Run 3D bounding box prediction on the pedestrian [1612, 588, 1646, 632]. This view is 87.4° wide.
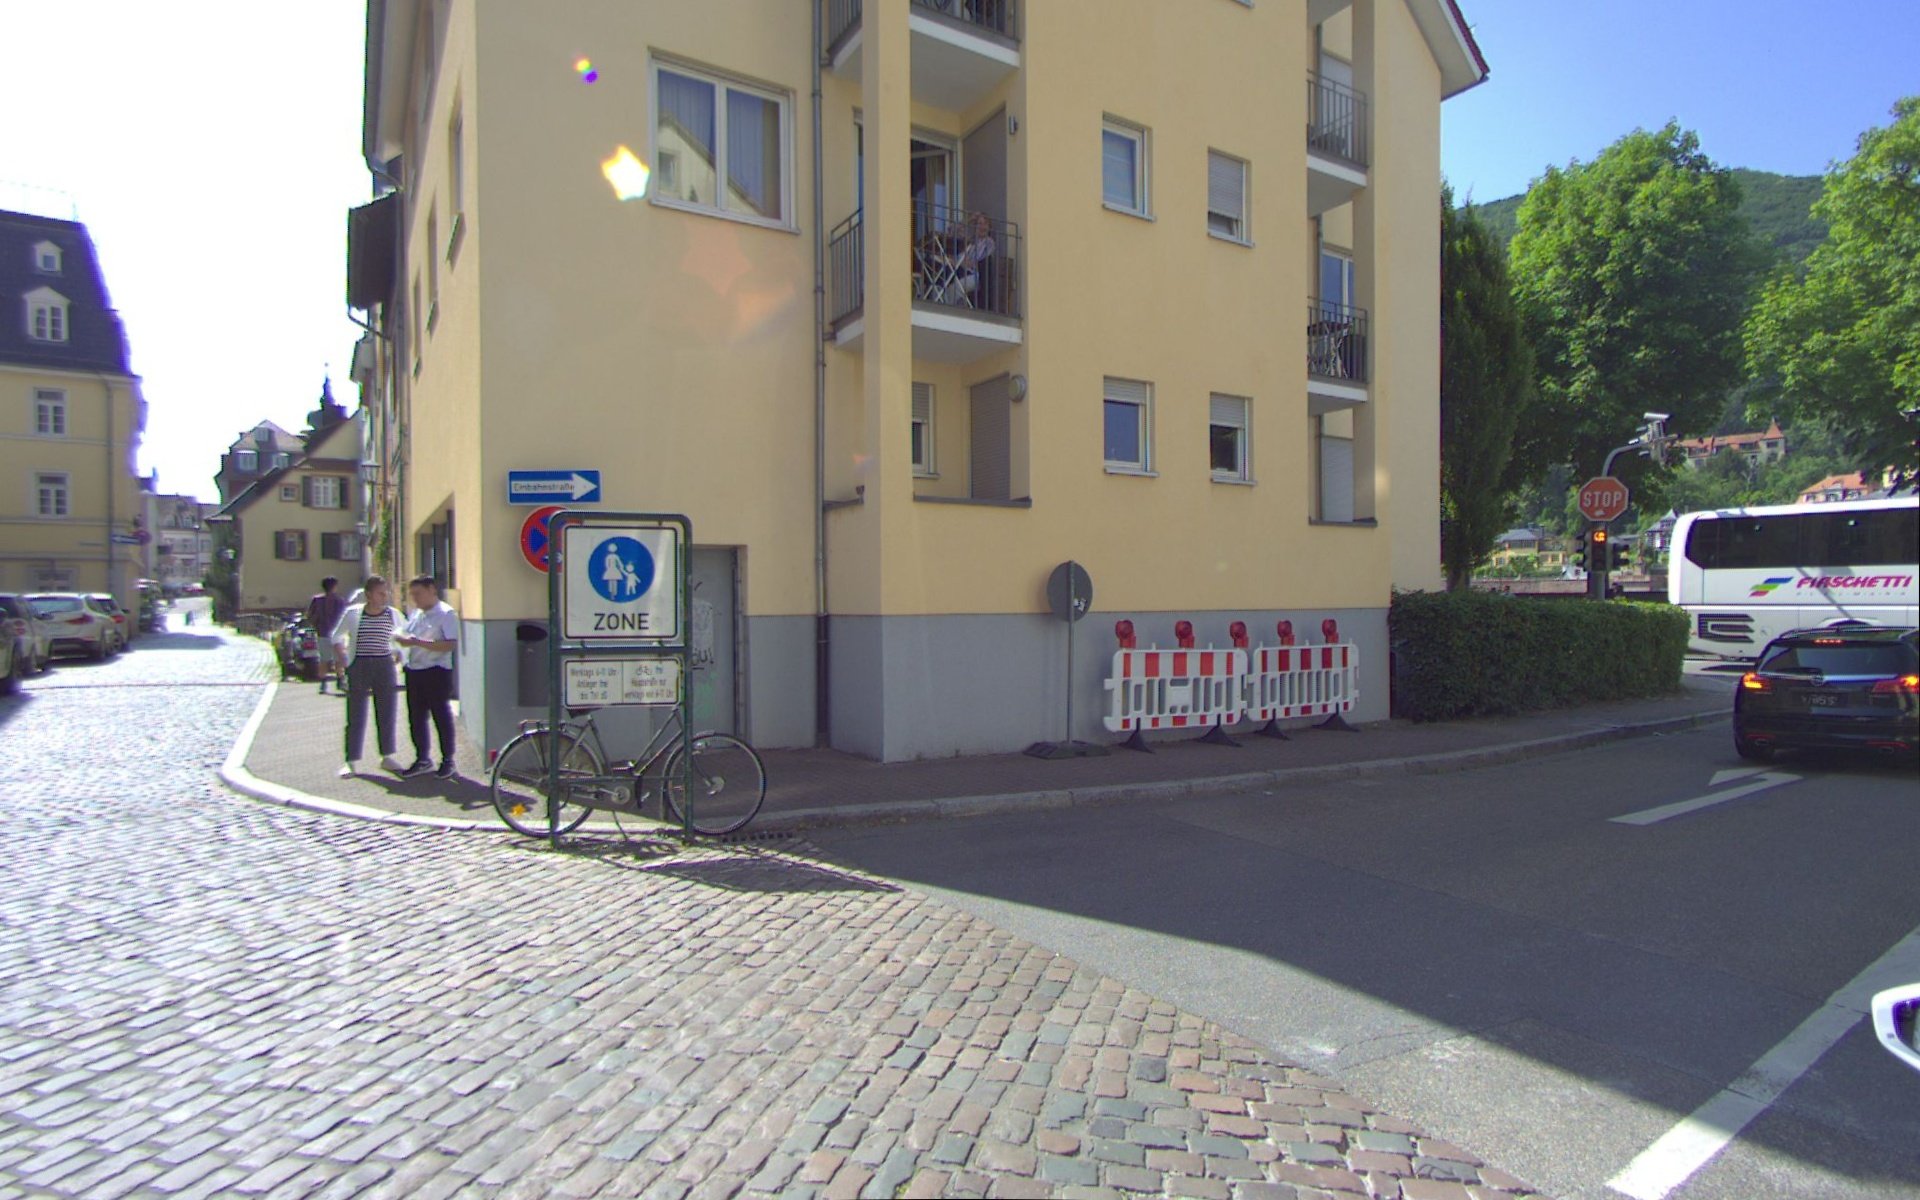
[{"bbox_3d":[22.993,0.337,34.522,1.369,1.499,0.464,0,0,-32],"label":"pedestrian"}]

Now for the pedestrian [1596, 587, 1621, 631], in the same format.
[{"bbox_3d":[22.499,0.317,34.849,0.795,1.513,0.464,0,0,-32],"label":"pedestrian"}]

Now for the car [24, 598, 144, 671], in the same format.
[{"bbox_3d":[-19.797,0.731,22.835,1.552,1.463,3.610,1,0,-33],"label":"car"}]

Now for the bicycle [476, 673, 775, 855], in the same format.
[{"bbox_3d":[-2.225,1.071,6.835,1.879,1.093,0.390,0,0,-17],"label":"bicycle"}]

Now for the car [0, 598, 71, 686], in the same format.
[{"bbox_3d":[-18.093,0.731,18.763,1.645,1.462,3.825,1,0,-33],"label":"car"}]

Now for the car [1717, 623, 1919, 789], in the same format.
[{"bbox_3d":[10.257,1.022,11.124,4.679,1.481,1.702,0,-2,-37],"label":"car"}]

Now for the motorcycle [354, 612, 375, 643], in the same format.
[{"bbox_3d":[-19.476,0.881,32.821,0.383,0.958,1.338,3,-1,-38],"label":"motorcycle"}]

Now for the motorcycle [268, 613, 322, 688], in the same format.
[{"bbox_3d":[-12.384,0.905,18.676,0.591,1.265,2.455,3,-1,-38],"label":"motorcycle"}]

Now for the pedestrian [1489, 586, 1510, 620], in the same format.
[{"bbox_3d":[20.383,0.111,37.972,0.624,1.287,0.464,0,0,-32],"label":"pedestrian"}]

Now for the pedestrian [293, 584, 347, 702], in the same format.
[{"bbox_3d":[-10.010,0.657,15.728,0.612,1.768,0.854,3,0,-31],"label":"pedestrian"}]

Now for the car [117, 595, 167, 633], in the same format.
[{"bbox_3d":[-45.529,0.787,55.989,1.981,2.040,3.958,0,0,-37],"label":"car"}]

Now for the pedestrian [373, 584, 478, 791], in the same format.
[{"bbox_3d":[-4.432,0.690,8.331,0.645,1.639,0.492,1,0,30],"label":"pedestrian"}]

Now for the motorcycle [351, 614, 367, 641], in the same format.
[{"bbox_3d":[-21.985,0.998,36.750,0.382,0.958,1.340,3,-1,-34],"label":"motorcycle"}]

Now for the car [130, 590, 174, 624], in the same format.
[{"bbox_3d":[-50.205,0.446,62.448,1.981,2.040,3.958,0,0,-37],"label":"car"}]

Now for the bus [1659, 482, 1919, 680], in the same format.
[{"bbox_3d":[20.727,-0.359,19.032,2.879,3.838,12.054,0,0,-36],"label":"bus"}]

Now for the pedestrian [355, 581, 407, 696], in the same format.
[{"bbox_3d":[-9.265,0.603,16.068,0.612,1.768,0.854,3,0,-31],"label":"pedestrian"}]

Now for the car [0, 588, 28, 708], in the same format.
[{"bbox_3d":[-13.717,0.658,13.142,1.552,1.657,3.826,1,0,-33],"label":"car"}]

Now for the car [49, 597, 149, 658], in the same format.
[{"bbox_3d":[-22.880,0.685,26.793,1.552,1.463,3.610,1,0,-33],"label":"car"}]

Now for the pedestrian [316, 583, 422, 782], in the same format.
[{"bbox_3d":[-5.154,0.682,8.754,0.684,1.639,0.748,2,0,-37],"label":"pedestrian"}]

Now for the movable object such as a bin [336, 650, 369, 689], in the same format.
[{"bbox_3d":[-10.208,1.156,16.874,0.298,0.571,1.228,0,0,-40],"label":"movable object such as a bin"}]

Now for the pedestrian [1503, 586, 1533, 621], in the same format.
[{"bbox_3d":[20.930,0.123,37.677,1.210,1.287,0.464,0,0,-32],"label":"pedestrian"}]

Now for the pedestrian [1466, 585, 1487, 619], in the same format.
[{"bbox_3d":[19.926,0.091,38.723,0.624,1.287,0.464,0,0,-32],"label":"pedestrian"}]
